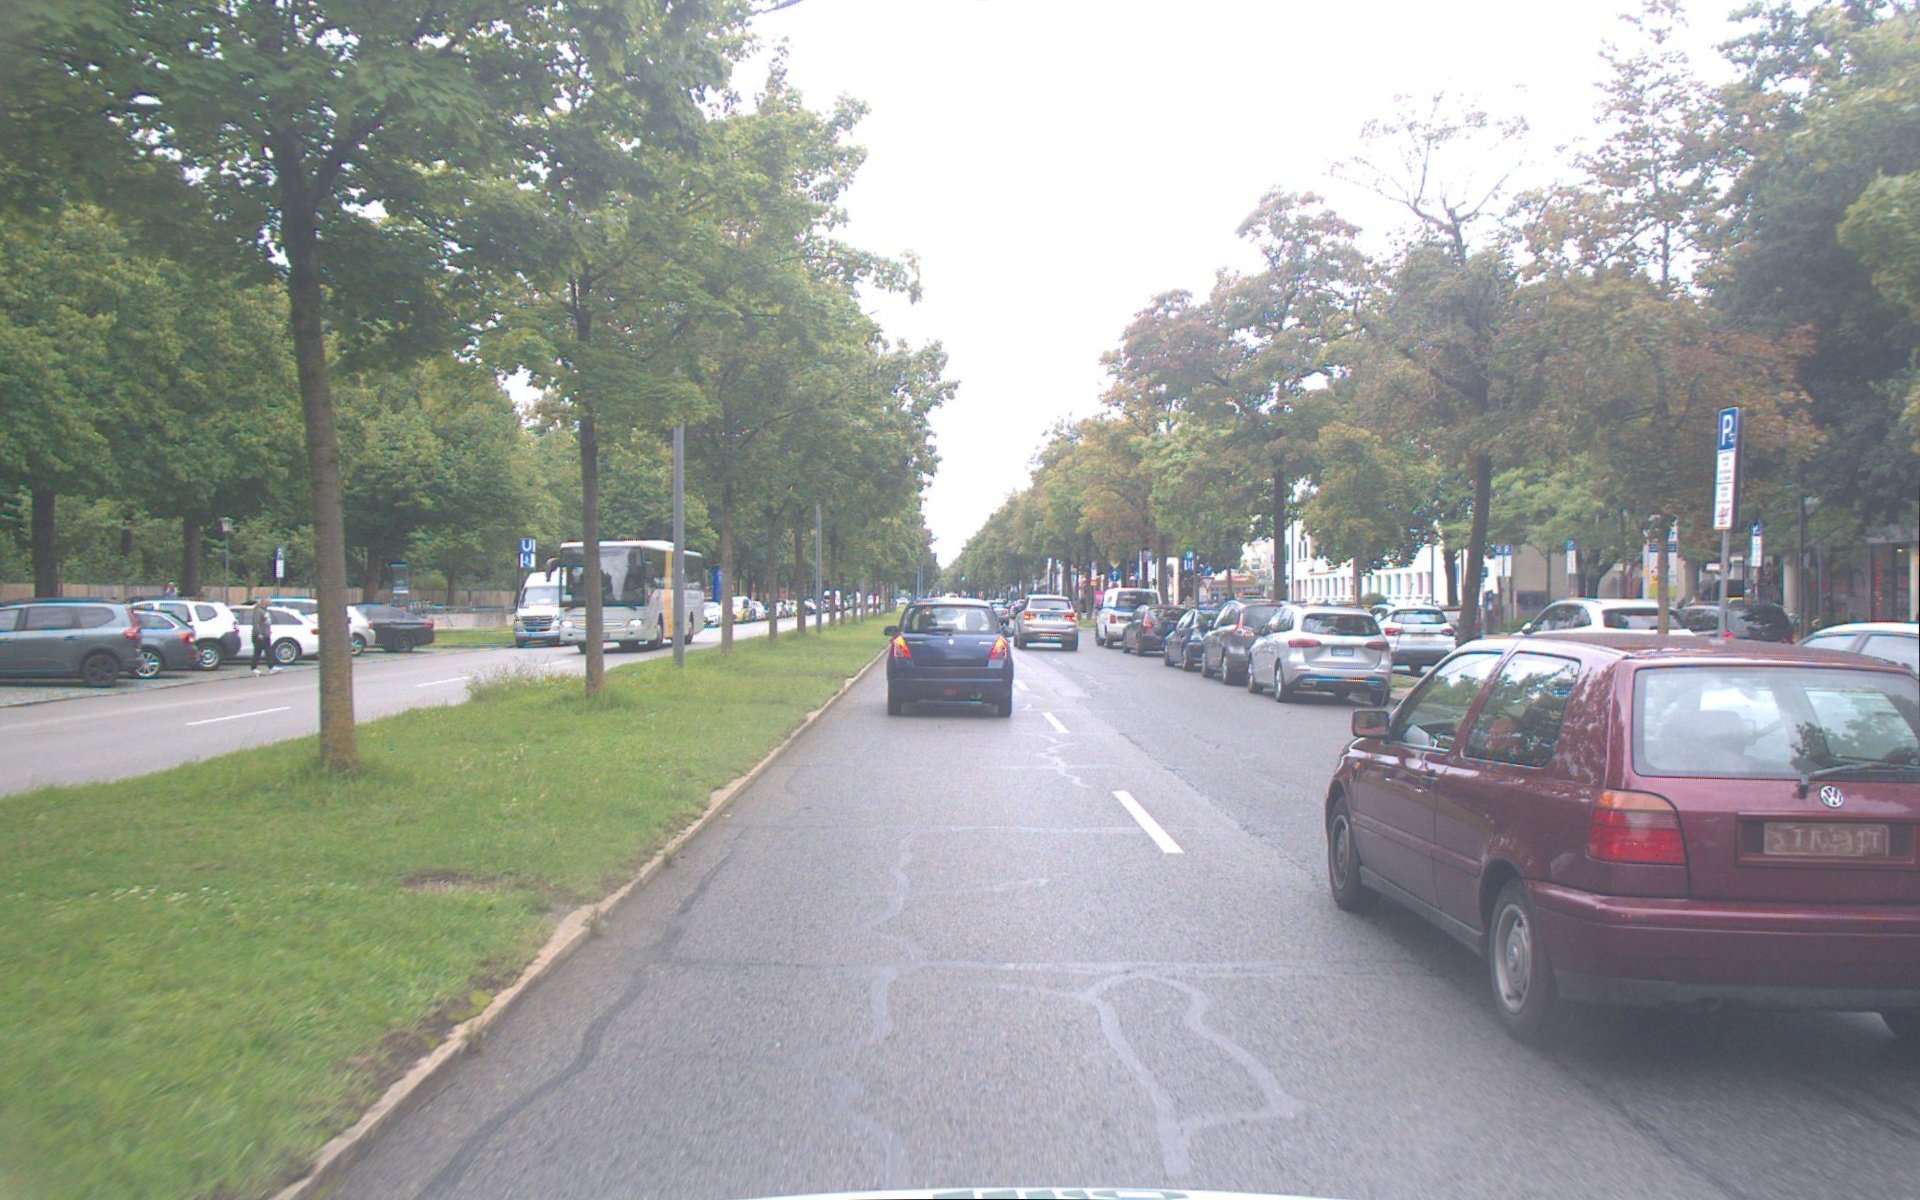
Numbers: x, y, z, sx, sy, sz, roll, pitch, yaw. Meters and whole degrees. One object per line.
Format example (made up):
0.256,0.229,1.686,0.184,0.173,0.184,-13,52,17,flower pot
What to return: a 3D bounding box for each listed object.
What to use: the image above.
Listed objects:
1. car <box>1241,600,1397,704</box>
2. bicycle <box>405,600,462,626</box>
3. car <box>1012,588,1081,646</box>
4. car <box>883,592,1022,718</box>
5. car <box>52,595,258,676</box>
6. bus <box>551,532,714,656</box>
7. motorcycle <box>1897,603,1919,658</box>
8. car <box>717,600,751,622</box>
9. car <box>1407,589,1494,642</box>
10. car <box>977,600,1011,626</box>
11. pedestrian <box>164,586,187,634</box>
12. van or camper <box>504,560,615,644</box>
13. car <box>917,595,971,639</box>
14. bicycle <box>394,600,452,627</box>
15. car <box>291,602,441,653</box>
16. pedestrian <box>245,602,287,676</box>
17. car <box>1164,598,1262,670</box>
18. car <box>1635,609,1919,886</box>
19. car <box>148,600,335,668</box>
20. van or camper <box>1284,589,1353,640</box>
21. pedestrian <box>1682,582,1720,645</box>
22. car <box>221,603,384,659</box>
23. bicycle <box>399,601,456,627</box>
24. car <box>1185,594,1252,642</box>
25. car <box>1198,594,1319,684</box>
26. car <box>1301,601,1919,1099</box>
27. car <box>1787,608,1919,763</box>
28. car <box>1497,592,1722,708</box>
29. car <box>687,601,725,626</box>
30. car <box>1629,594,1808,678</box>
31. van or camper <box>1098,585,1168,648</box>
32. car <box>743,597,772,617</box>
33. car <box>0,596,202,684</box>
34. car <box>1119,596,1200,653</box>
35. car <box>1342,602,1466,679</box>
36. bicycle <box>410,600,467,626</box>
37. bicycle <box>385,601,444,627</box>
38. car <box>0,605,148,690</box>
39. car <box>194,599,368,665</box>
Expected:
5.921,0.802,27.746,1.649,1.552,4.456,1,0,0,car
-24.908,0.626,78.243,2.447,1.164,0.654,1,0,1,bicycle
2.686,0.504,51.953,1.813,1.773,4.096,0,0,-2,car
-0.161,0.690,22.878,1.753,1.583,3.998,0,0,-2,car
-18.416,0.766,37.891,4.058,1.725,1.897,0,0,-34,car
-10.187,-0.194,52.941,2.682,3.436,12.013,-2,0,0,bus
21.040,0.666,35.521,0.593,1.160,2.051,-3,0,-1,motorcycle
-15.051,0.712,110.408,1.813,1.472,4.096,0,0,-2,car
15.497,0.475,52.439,1.649,1.613,4.028,0,0,2,car
1.983,0.753,98.769,1.813,1.472,4.096,0,0,-2,car
-27.135,0.344,57.208,0.671,1.640,0.685,0,0,-31,pedestrian
-14.589,0.063,60.730,2.262,2.883,7.493,0,0,0,van or camper
-0.597,0.574,57.878,1.813,1.472,4.096,0,0,-2,car
-24.929,0.632,76.764,2.447,1.164,0.707,1,0,1,bicycle
-18.202,0.837,50.772,4.058,1.500,1.685,1,-1,-34,car
-15.536,0.867,37.054,0.711,1.640,0.679,0,0,-8,pedestrian
5.811,0.744,38.401,1.649,1.581,4.306,0,0,0,car
6.040,0.844,10.301,1.672,1.479,4.510,2,0,-2,car
-18.025,0.811,41.532,4.058,1.612,1.897,0,0,-34,car
14.468,0.572,66.962,1.904,2.009,4.306,0,0,0,van or camper
20.603,0.367,45.972,0.732,1.736,0.702,0,0,0,pedestrian
-18.807,0.855,47.370,4.058,1.500,1.897,0,0,-34,car
-24.941,0.655,77.460,2.447,1.164,0.600,1,0,1,bicycle
8.981,0.601,57.684,1.650,1.613,4.027,0,0,-1,car
5.923,0.722,33.240,1.649,1.654,4.306,1,0,0,car
2.668,0.751,6.960,1.589,1.479,3.949,0,0,-1,car
10.145,0.838,16.381,1.649,1.479,4.735,0,0,1,car
10.102,0.711,26.132,1.650,1.661,4.779,0,0,-1,car
-15.306,0.776,99.864,1.813,1.472,4.096,0,0,-2,car
15.890,0.705,34.898,1.650,1.661,4.381,0,0,-2,car
5.705,0.532,54.929,1.904,2.009,4.306,0,0,0,van or camper
-15.139,0.520,123.734,1.813,1.472,4.096,0,0,-2,car
-18.179,0.785,34.545,4.058,1.725,1.897,0,0,-34,car
5.832,0.686,48.737,1.650,1.581,4.303,0,0,-3,car
9.869,0.859,37.053,1.650,1.613,4.027,0,0,-1,car
-24.899,0.623,78.975,2.447,1.164,0.707,1,0,1,bicycle
-24.980,0.635,75.764,2.447,1.164,0.723,1,0,1,bicycle
-18.009,0.898,31.870,4.132,1.569,1.899,0,0,-31,car
-18.266,0.823,44.553,4.058,1.681,1.897,0,0,-34,car
